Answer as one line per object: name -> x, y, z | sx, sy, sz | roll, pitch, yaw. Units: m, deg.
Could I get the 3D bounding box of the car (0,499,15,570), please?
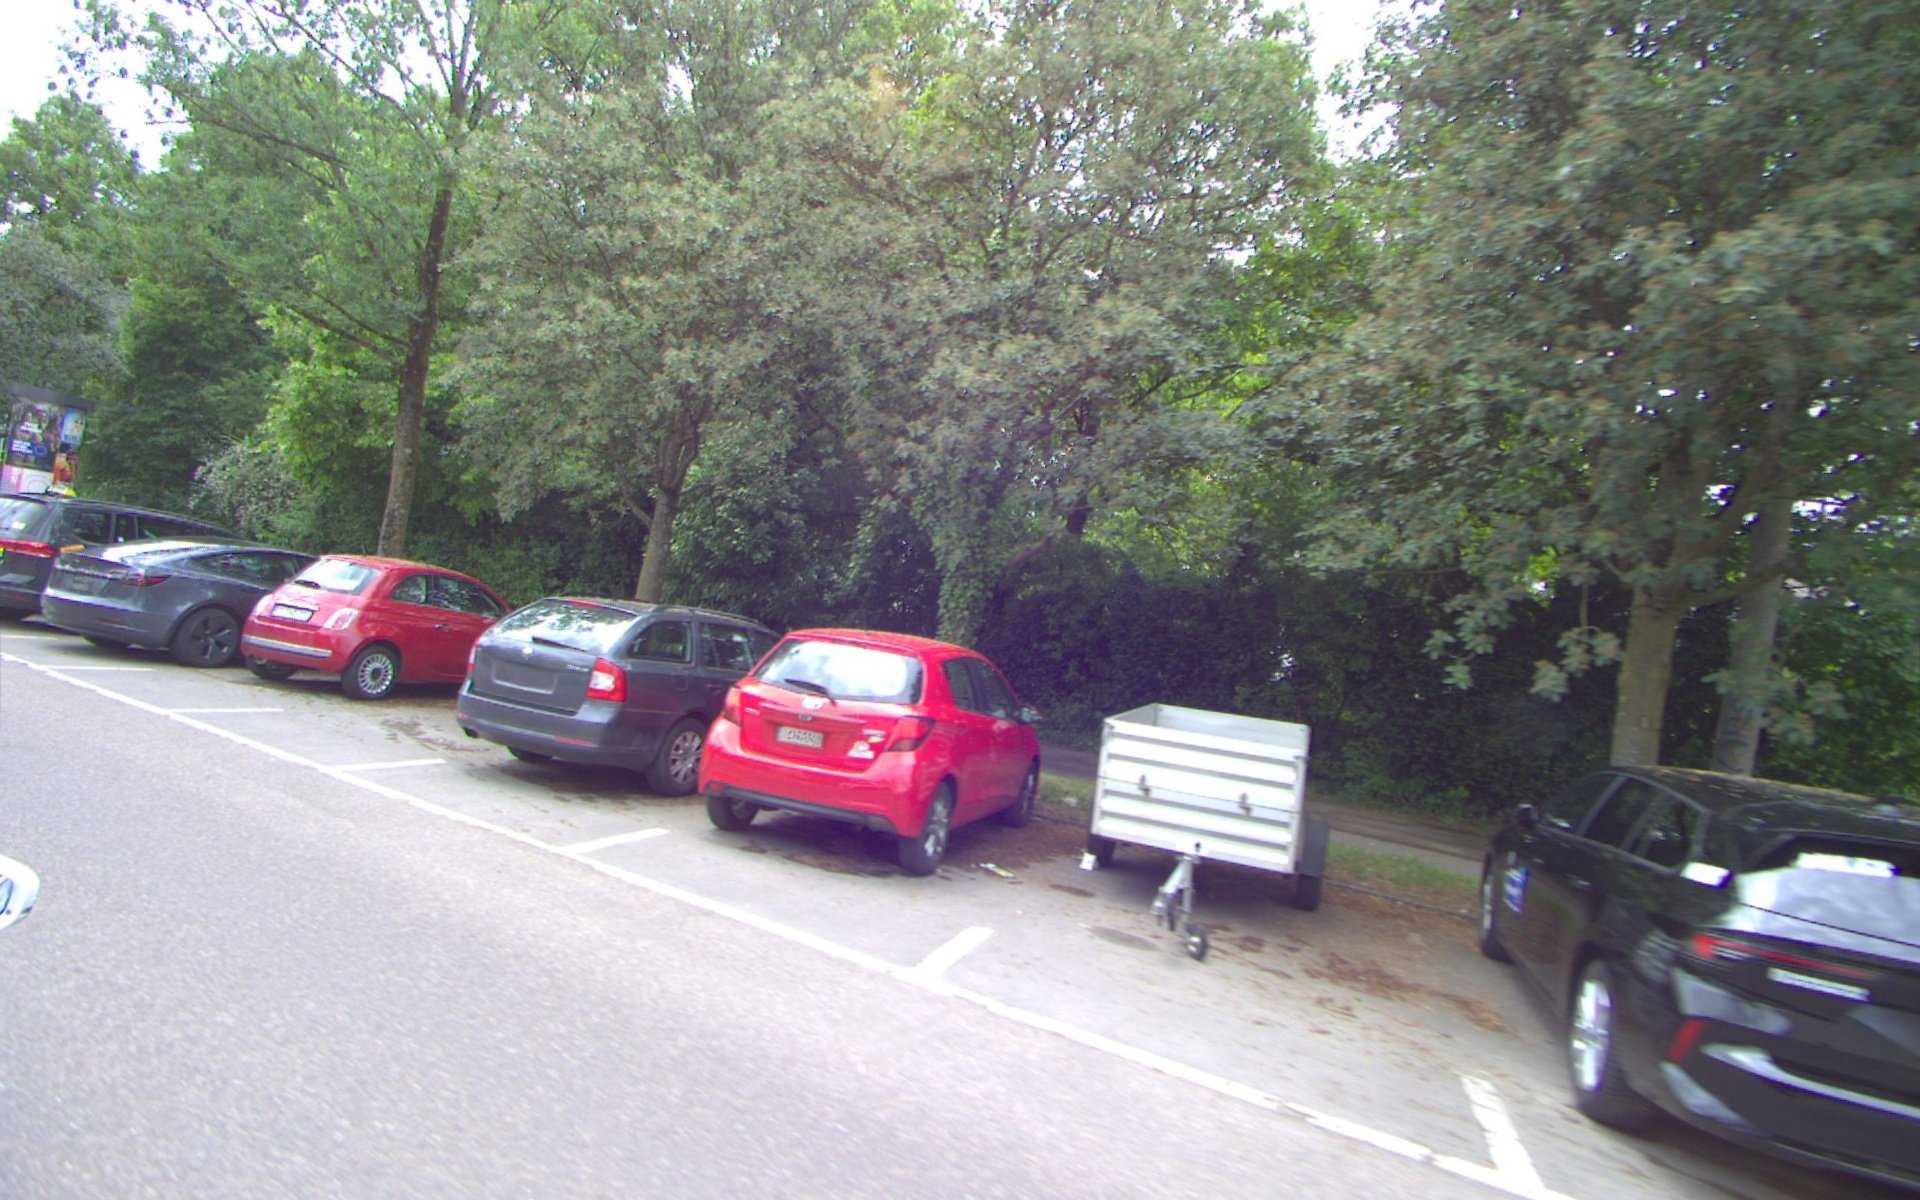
car -> -21.800, -1.674, 20.051 | 1.587, 1.503, 3.931 | 8, -3, 15

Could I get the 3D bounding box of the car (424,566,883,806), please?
car -> -2.419, 0.787, 9.216 | 1.605, 1.480, 4.238 | 8, -3, 21

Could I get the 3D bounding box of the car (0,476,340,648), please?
car -> -10.903, -0.428, 13.566 | 1.649, 1.744, 4.003 | 7, -3, 21

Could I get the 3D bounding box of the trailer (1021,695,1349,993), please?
trailer -> 1.740, 1.420, 6.987 | 1.586, 1.281, 3.417 | 7, -3, 20

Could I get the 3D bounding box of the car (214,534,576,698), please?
car -> -6.439, 0.290, 11.881 | 1.604, 1.480, 3.341 | 8, -3, 20

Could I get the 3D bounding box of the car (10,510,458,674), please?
car -> -8.587, 0.035, 12.428 | 1.666, 1.422, 4.179 | 7, -3, 19

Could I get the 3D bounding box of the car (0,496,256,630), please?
car -> -13.083, -0.569, 15.000 | 1.577, 1.546, 3.834 | 7, -3, 26

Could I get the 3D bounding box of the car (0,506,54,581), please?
car -> -19.553, -1.333, 18.420 | 1.530, 1.342, 4.054 | 7, -3, 21

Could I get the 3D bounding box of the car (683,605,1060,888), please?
car -> -0.424, 1.033, 7.950 | 1.562, 1.492, 3.540 | 8, -2, 18

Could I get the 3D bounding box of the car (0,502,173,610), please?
car -> -15.238, -0.800, 16.374 | 1.530, 1.461, 3.440 | 7, -3, 18

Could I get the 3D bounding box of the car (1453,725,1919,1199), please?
car -> 3.674, 1.533, 4.959 | 1.547, 1.492, 4.154 | 8, -3, 19

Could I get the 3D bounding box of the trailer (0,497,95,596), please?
trailer -> -17.388, -1.142, 17.036 | 1.615, 1.551, 3.706 | 8, -3, 19
